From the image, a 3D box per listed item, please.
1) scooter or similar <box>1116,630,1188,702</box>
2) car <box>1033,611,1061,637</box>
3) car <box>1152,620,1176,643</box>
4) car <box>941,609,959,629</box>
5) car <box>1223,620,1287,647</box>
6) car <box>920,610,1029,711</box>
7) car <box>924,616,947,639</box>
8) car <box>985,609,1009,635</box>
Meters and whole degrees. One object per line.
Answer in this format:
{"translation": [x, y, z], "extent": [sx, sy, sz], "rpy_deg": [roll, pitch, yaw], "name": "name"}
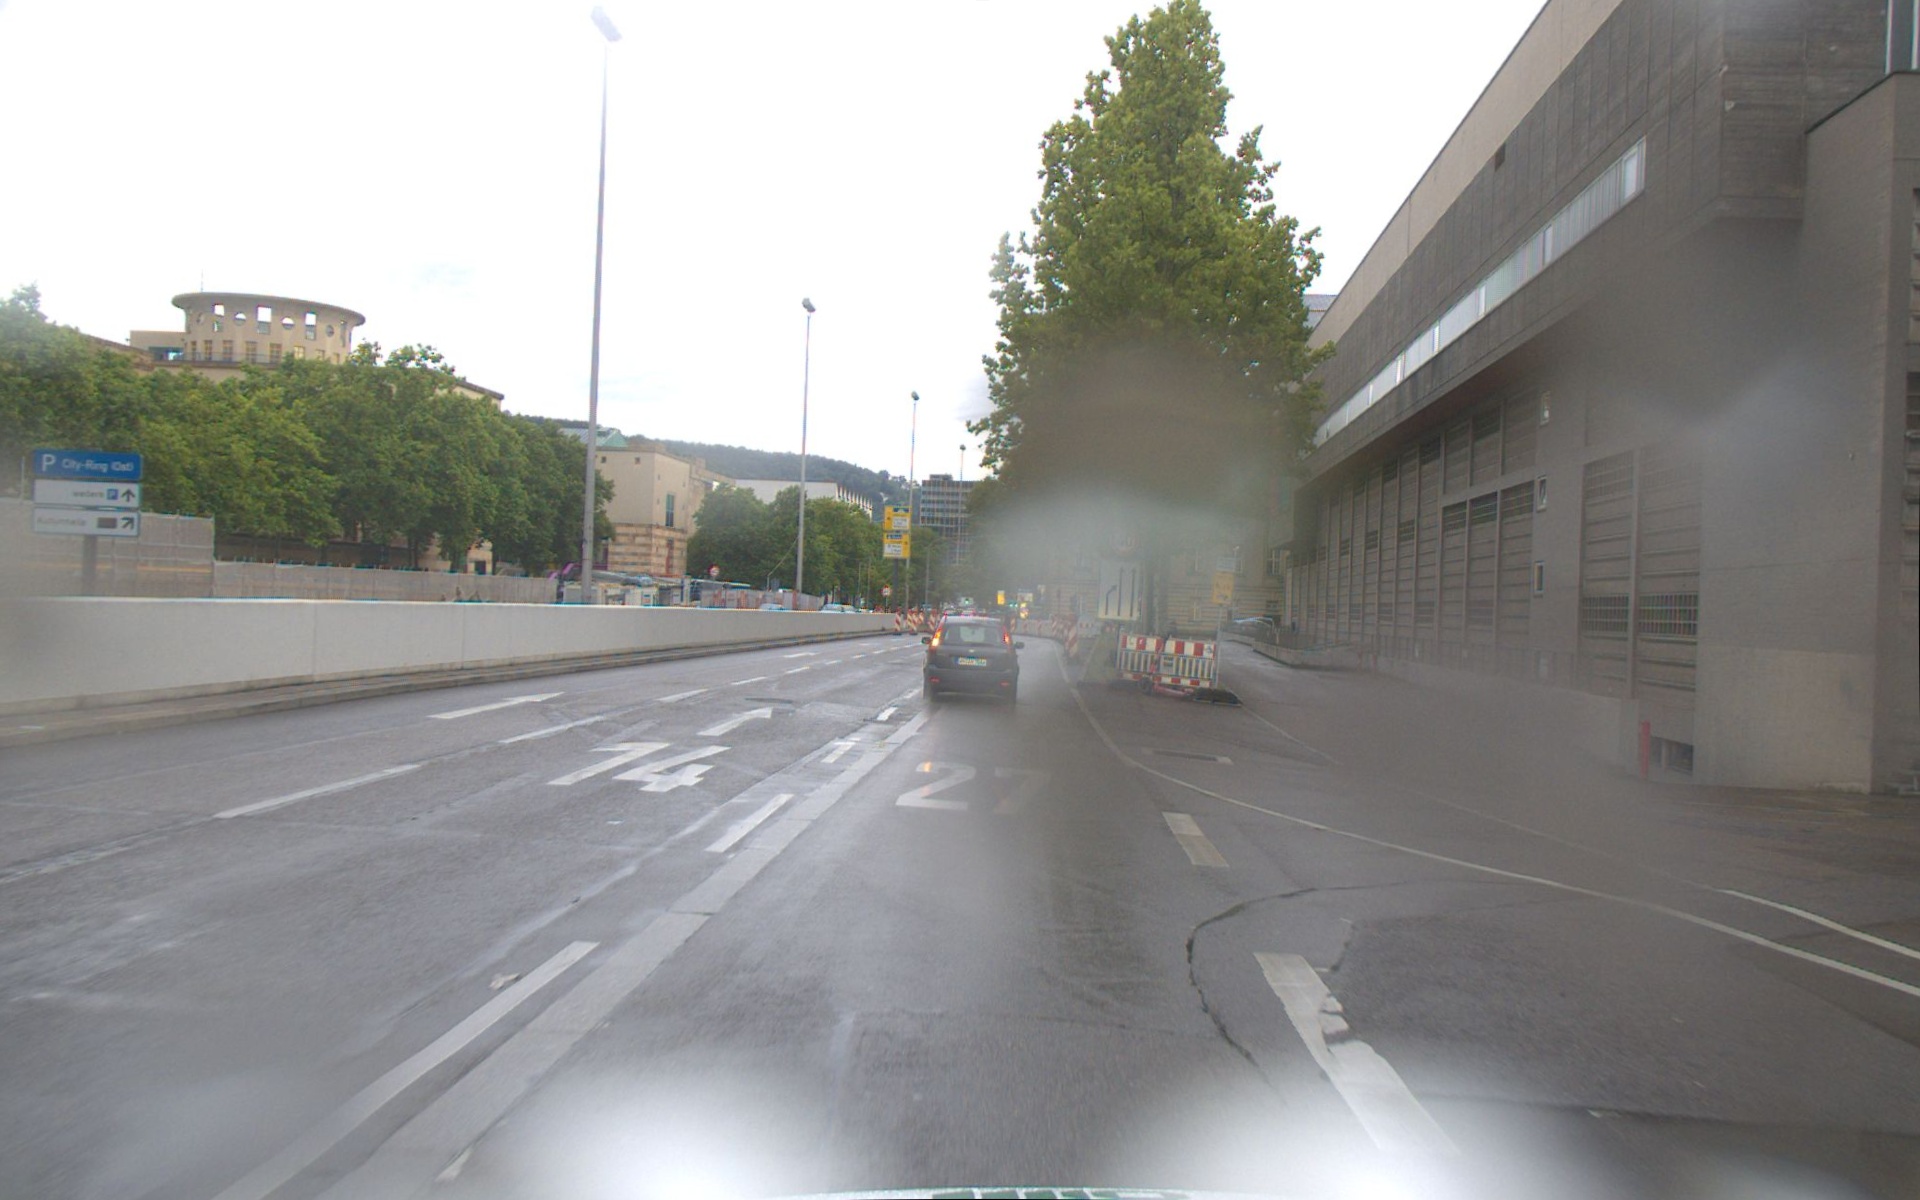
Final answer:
{"translation": [3.831, 1.317, 33.073], "extent": [1.327, 1.308, 0.619], "rpy_deg": [4, -2, 4], "name": "scooter or similar"}
{"translation": [6.476, 1.743, 123.460], "extent": [1.952, 1.738, 4.002], "rpy_deg": [4, 0, 3], "name": "car"}
{"translation": [17.715, 2.741, 143.414], "extent": [1.951, 1.738, 4.002], "rpy_deg": [4, -2, 8], "name": "car"}
{"translation": [-1.188, 2.254, 194.047], "extent": [1.954, 2.049, 3.998], "rpy_deg": [5, -2, -2], "name": "car"}
{"translation": [19.091, 2.159, 107.177], "extent": [3.903, 1.587, 1.934], "rpy_deg": [1, -3, 4], "name": "car"}
{"translation": [0.314, 1.007, 29.288], "extent": [1.635, 1.451, 3.759], "rpy_deg": [5, 1, 3], "name": "car"}
{"translation": [-1.545, 1.724, 103.252], "extent": [1.357, 1.411, 3.066], "rpy_deg": [2, -1, -1], "name": "car"}
{"translation": [3.300, 1.942, 146.957], "extent": [1.952, 2.048, 4.002], "rpy_deg": [4, 0, 3], "name": "car"}
